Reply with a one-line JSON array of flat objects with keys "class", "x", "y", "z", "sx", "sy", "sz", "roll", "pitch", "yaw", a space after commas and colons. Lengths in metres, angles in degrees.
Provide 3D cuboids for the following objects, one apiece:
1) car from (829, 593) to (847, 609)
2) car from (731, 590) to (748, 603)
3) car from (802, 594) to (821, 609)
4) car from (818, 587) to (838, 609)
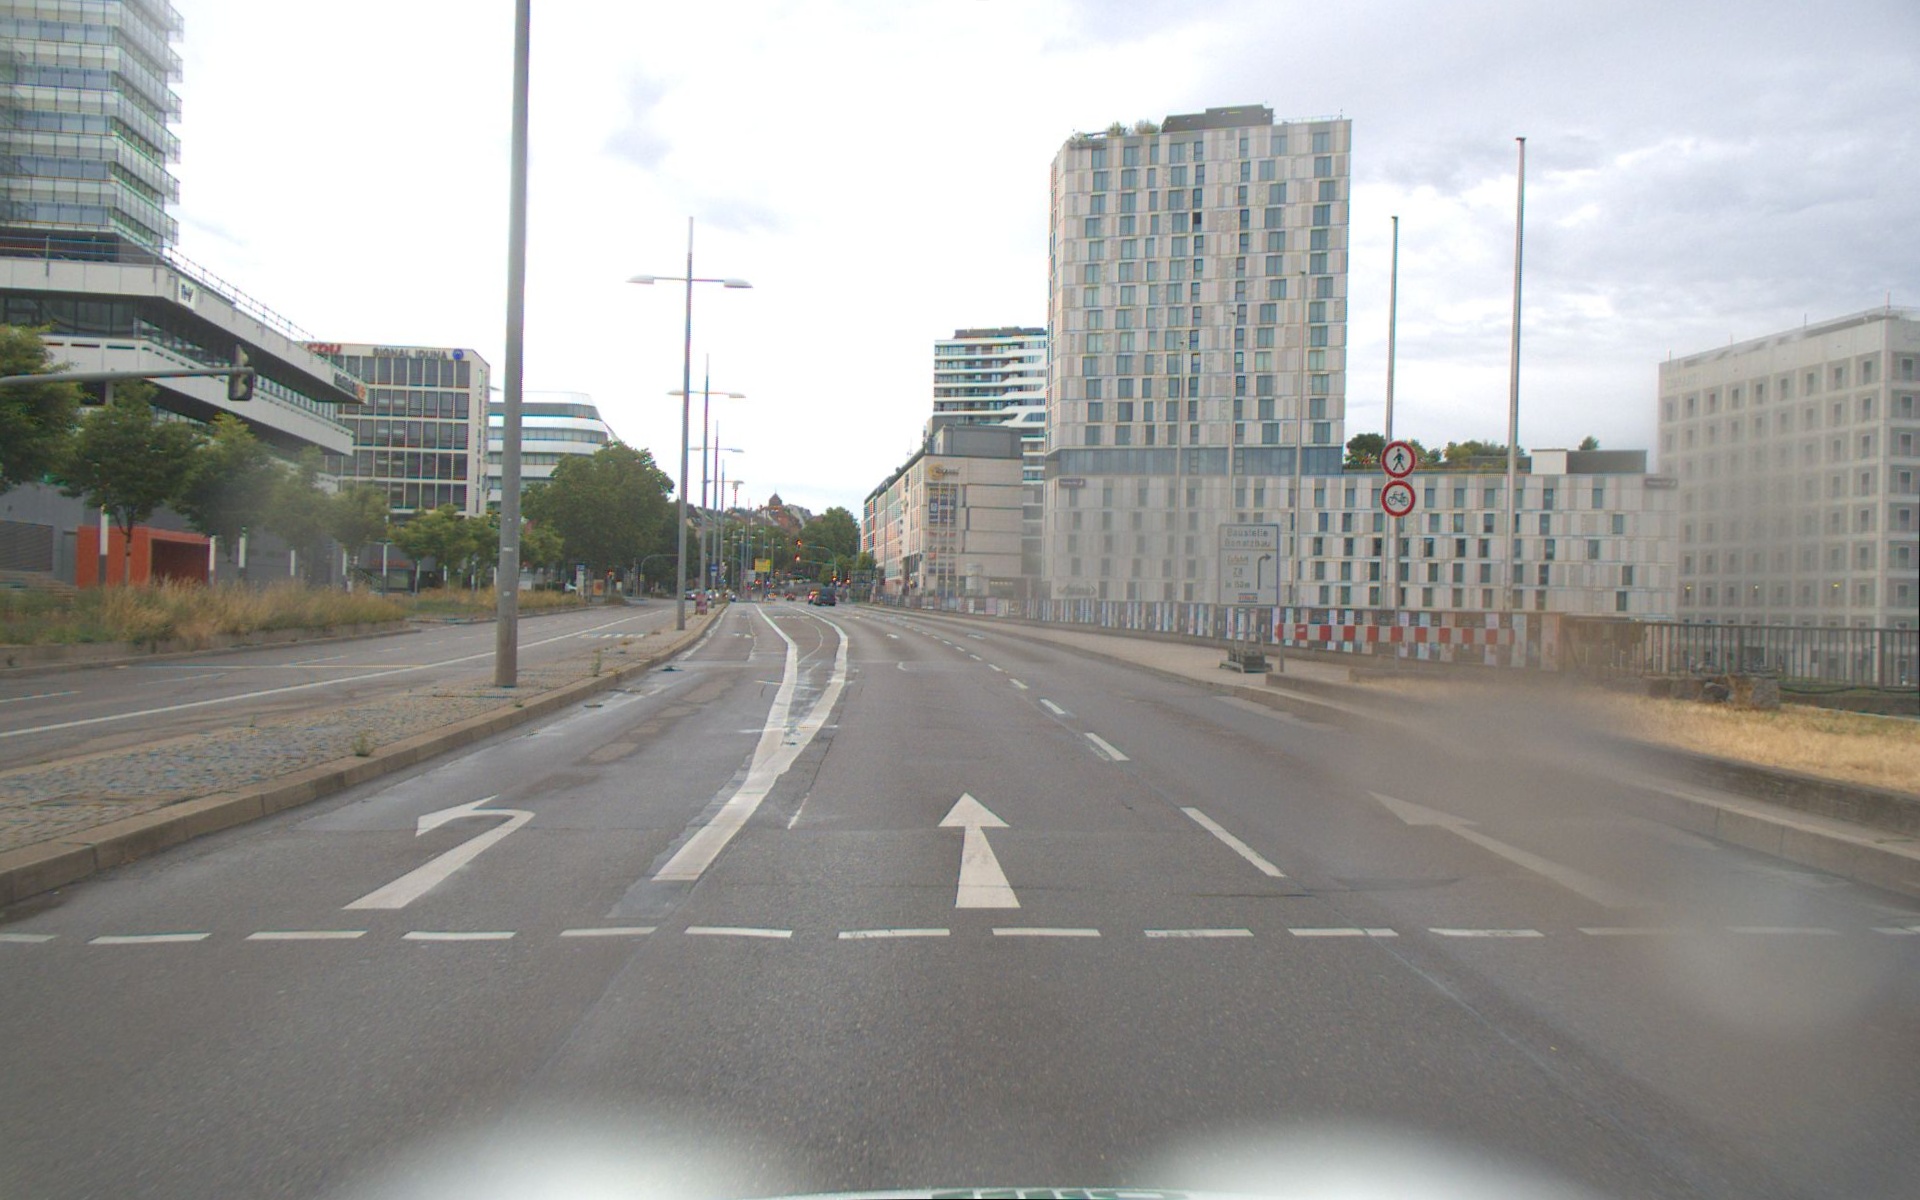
[{"class": "car", "x": -15.506, "y": 0.094, "z": 210.234, "sx": 1.952, "sy": 1.847, "sz": 4.002, "roll": 0, "pitch": 1, "yaw": 2}, {"class": "car", "x": -31.530, "y": -0.474, "z": 236.877, "sx": 1.953, "sy": 1.814, "sz": 3.999, "roll": 0, "pitch": 1, "yaw": -2}, {"class": "car", "x": -18.663, "y": 0.166, "z": 207.762, "sx": 1.952, "sy": 1.847, "sz": 4.002, "roll": 0, "pitch": 1, "yaw": 2}, {"class": "car", "x": -14.438, "y": -0.212, "z": 181.355, "sx": 1.953, "sy": 2.384, "sz": 3.999, "roll": 1, "pitch": 0, "yaw": -2}]
